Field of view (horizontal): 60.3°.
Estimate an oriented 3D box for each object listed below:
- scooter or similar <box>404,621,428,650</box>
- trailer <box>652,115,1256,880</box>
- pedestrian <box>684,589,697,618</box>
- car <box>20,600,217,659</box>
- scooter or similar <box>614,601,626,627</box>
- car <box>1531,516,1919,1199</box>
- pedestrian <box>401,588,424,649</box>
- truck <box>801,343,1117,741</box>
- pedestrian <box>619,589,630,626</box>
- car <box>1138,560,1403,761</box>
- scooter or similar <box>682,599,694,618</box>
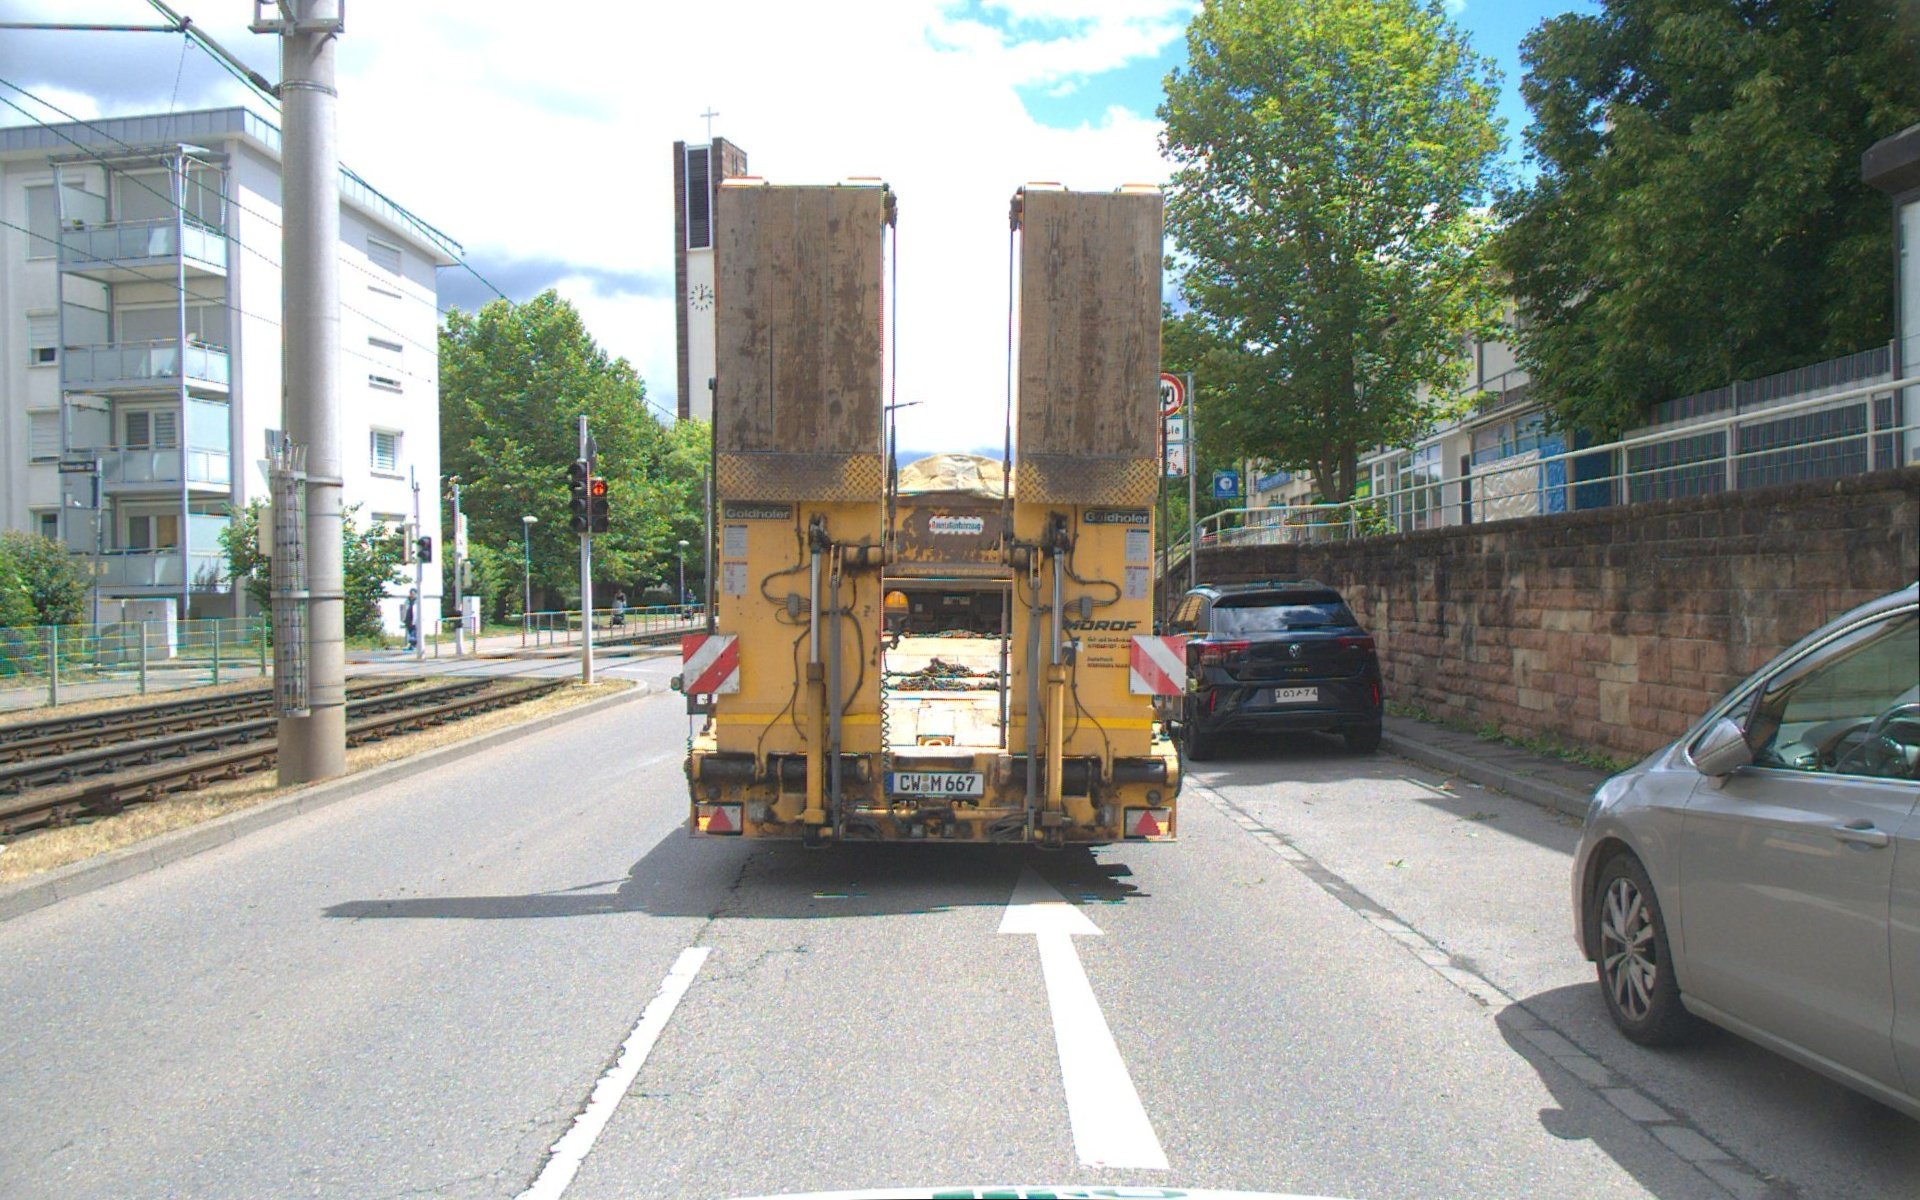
[{"bbox_3d":[-14.331,0.930,43.569,0.428,0.760,0.475,-1,0,4],"label":"scooter or similar"},{"bbox_3d":[-0.016,-0.526,12.333,2.885,3.664,8.683,-1,0,0],"label":"trailer"},{"bbox_3d":[-14.144,0.178,86.712,0.552,1.540,0.645,1,0,-2],"label":"pedestrian"},{"bbox_3d":[-20.614,0.710,40.603,3.902,1.369,1.903,-1,0,7],"label":"car"},{"bbox_3d":[-14.244,0.575,69.365,0.331,1.076,0.688,-1,0,2],"label":"scooter or similar"},{"bbox_3d":[3.143,0.595,4.227,1.754,1.646,4.247,-2,0,-2],"label":"car"},{"bbox_3d":[-14.590,0.497,44.069,0.428,1.608,0.475,-1,0,4],"label":"pedestrian"},{"bbox_3d":[-0.020,-0.551,17.678,2.882,3.635,4.876,-1,0,0],"label":"truck"},{"bbox_3d":[-14.211,0.327,70.043,0.341,1.564,0.557,-1,0,3],"label":"pedestrian"},{"bbox_3d":[2.890,0.513,16.238,1.813,1.668,4.000,-2,0,0],"label":"car"},{"bbox_3d":[-14.157,0.452,86.060,0.495,0.988,0.645,1,0,-2],"label":"scooter or similar"}]
